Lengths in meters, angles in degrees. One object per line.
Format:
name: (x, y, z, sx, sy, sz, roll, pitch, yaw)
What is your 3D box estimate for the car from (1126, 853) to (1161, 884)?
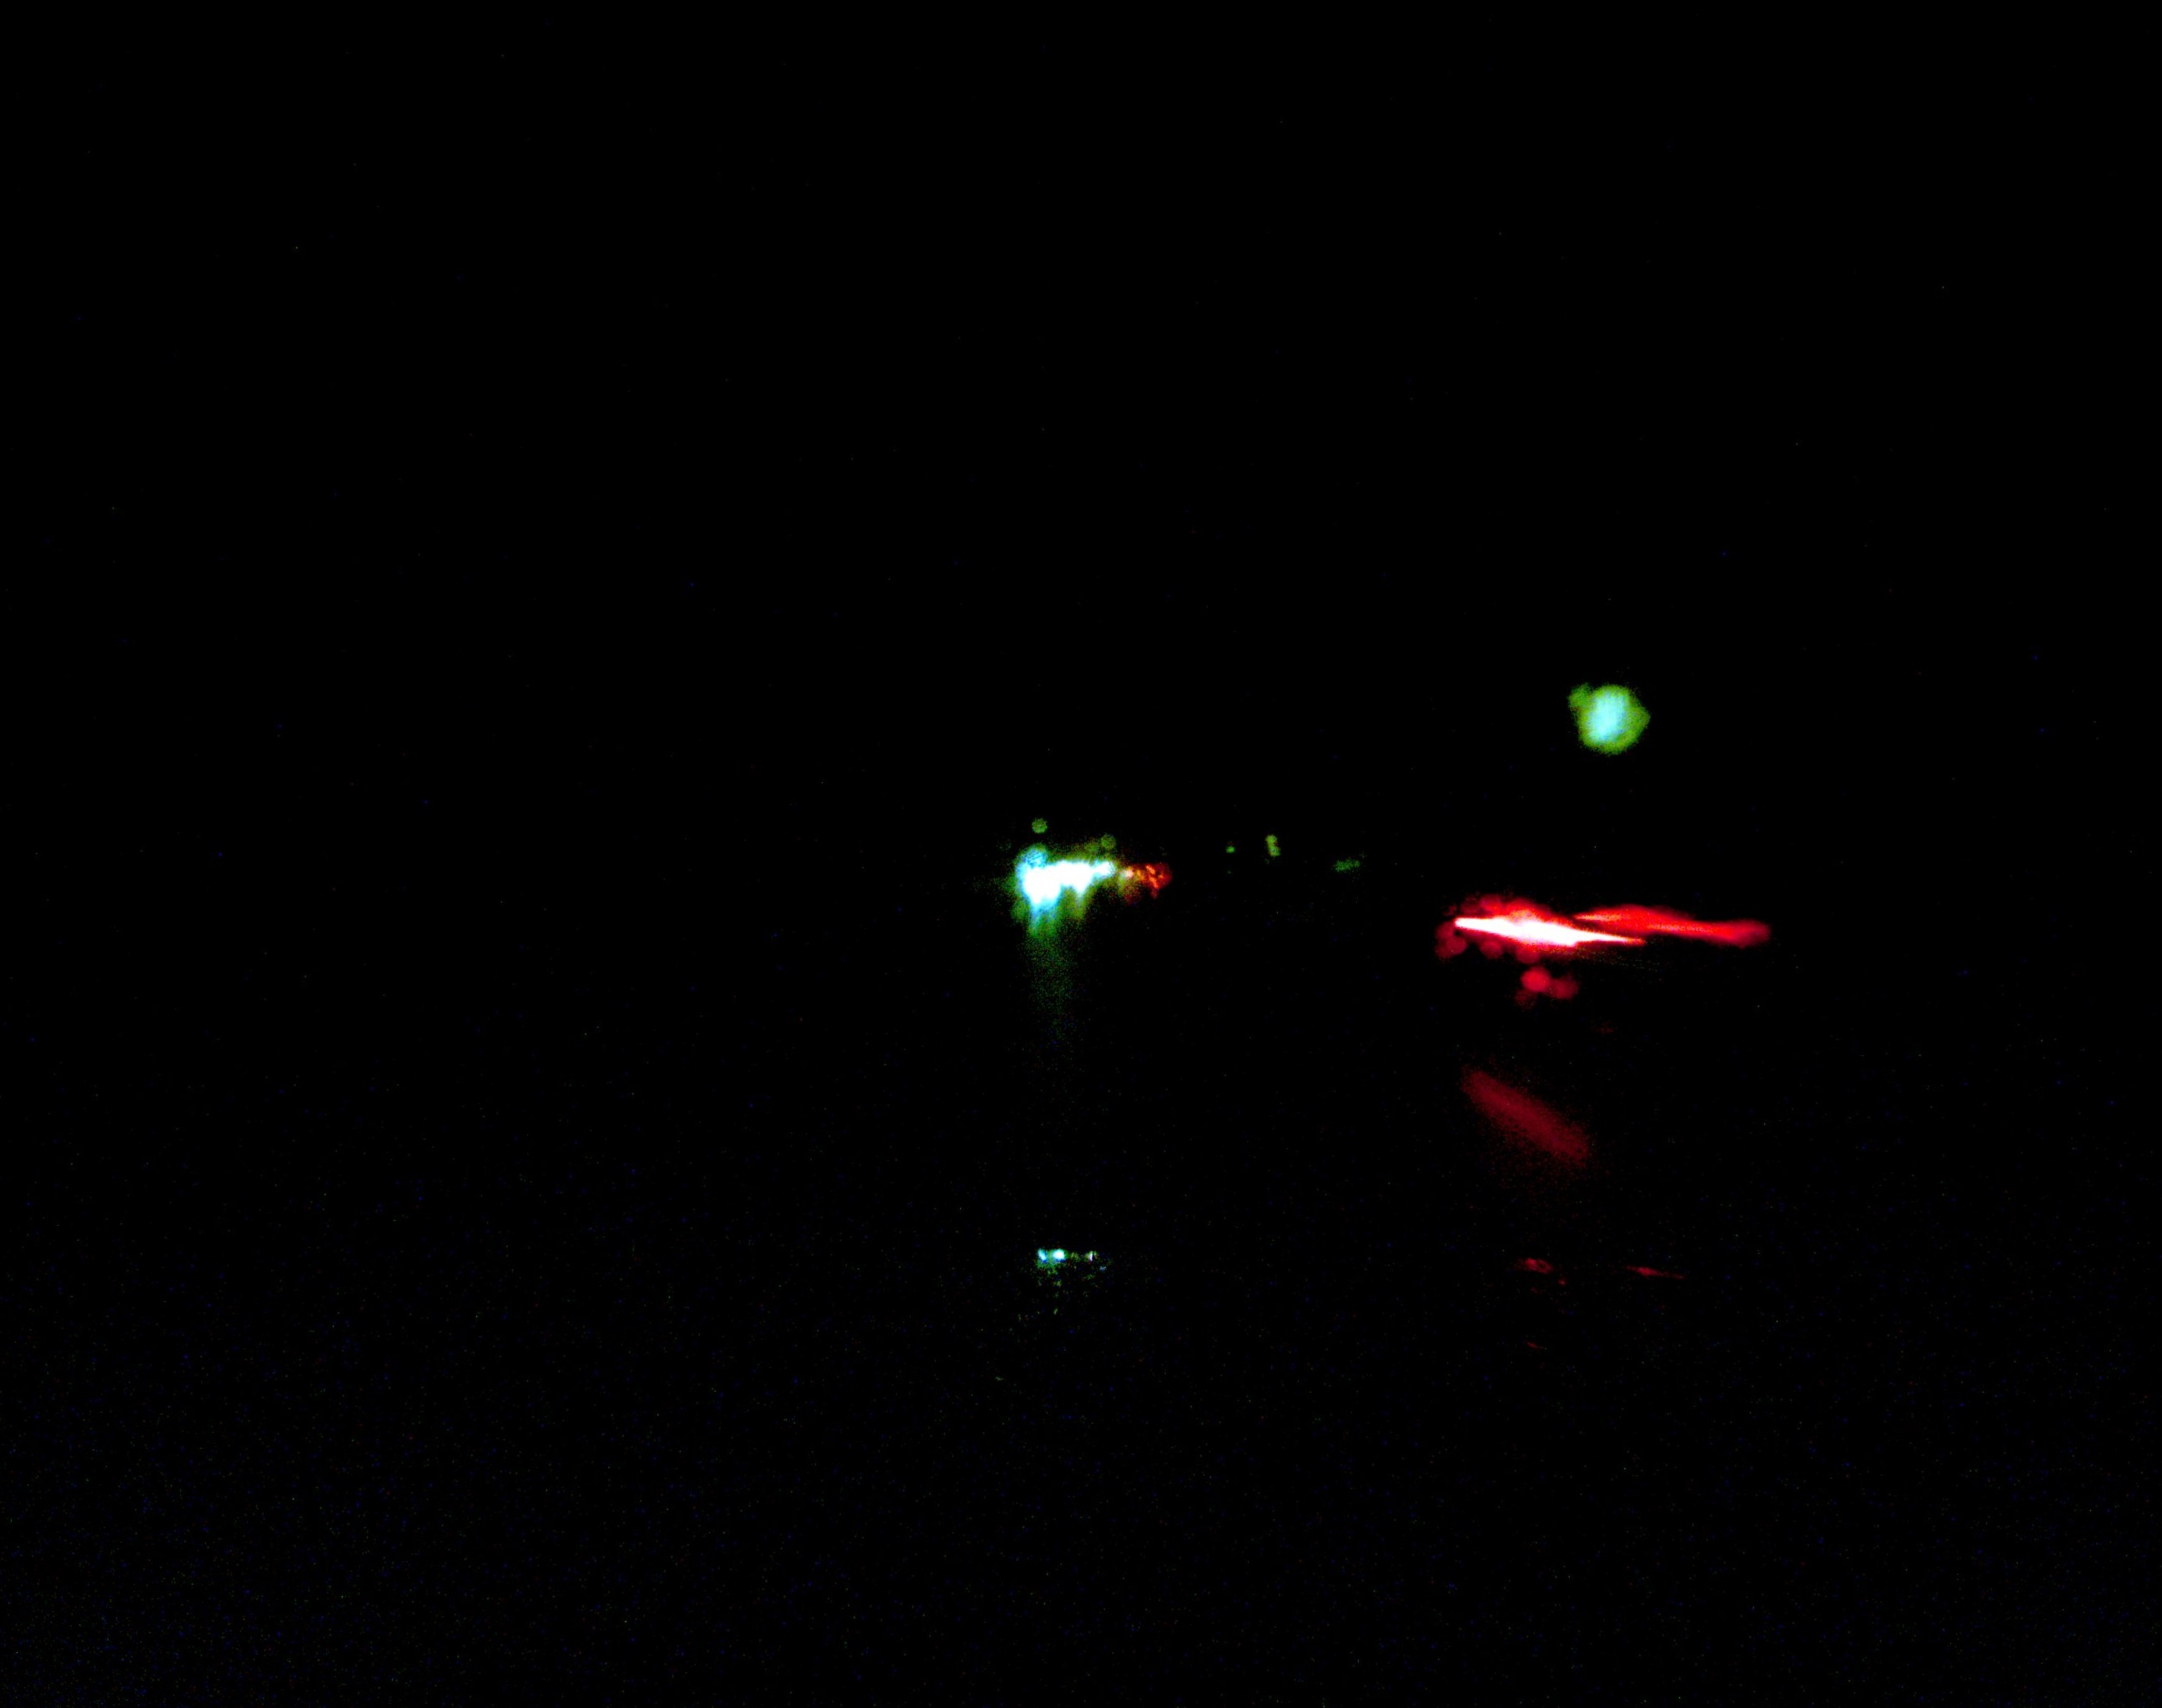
car: (3.685, 0.820, 45.437, 1.795, 1.681, 4.000, -3, 0, 1)

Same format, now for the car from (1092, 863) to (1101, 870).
car: (3.679, 3.040, 186.268, 1.999, 1.465, 4.275, -3, 0, -1)

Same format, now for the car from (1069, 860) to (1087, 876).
car: (-0.333, 1.576, 86.091, 1.998, 1.575, 4.000, -3, 0, 0)

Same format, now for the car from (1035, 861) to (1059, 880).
car: (-3.093, 1.493, 70.148, 1.999, 1.575, 4.000, -2, 0, -1)

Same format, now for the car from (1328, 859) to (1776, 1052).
car: (4.524, 0.829, 8.397, 1.998, 1.409, 4.665, -3, 0, 0)

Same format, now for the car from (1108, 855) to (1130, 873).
car: (3.579, 0.912, 71.884, 1.904, 1.635, 3.791, -3, 0, 1)
